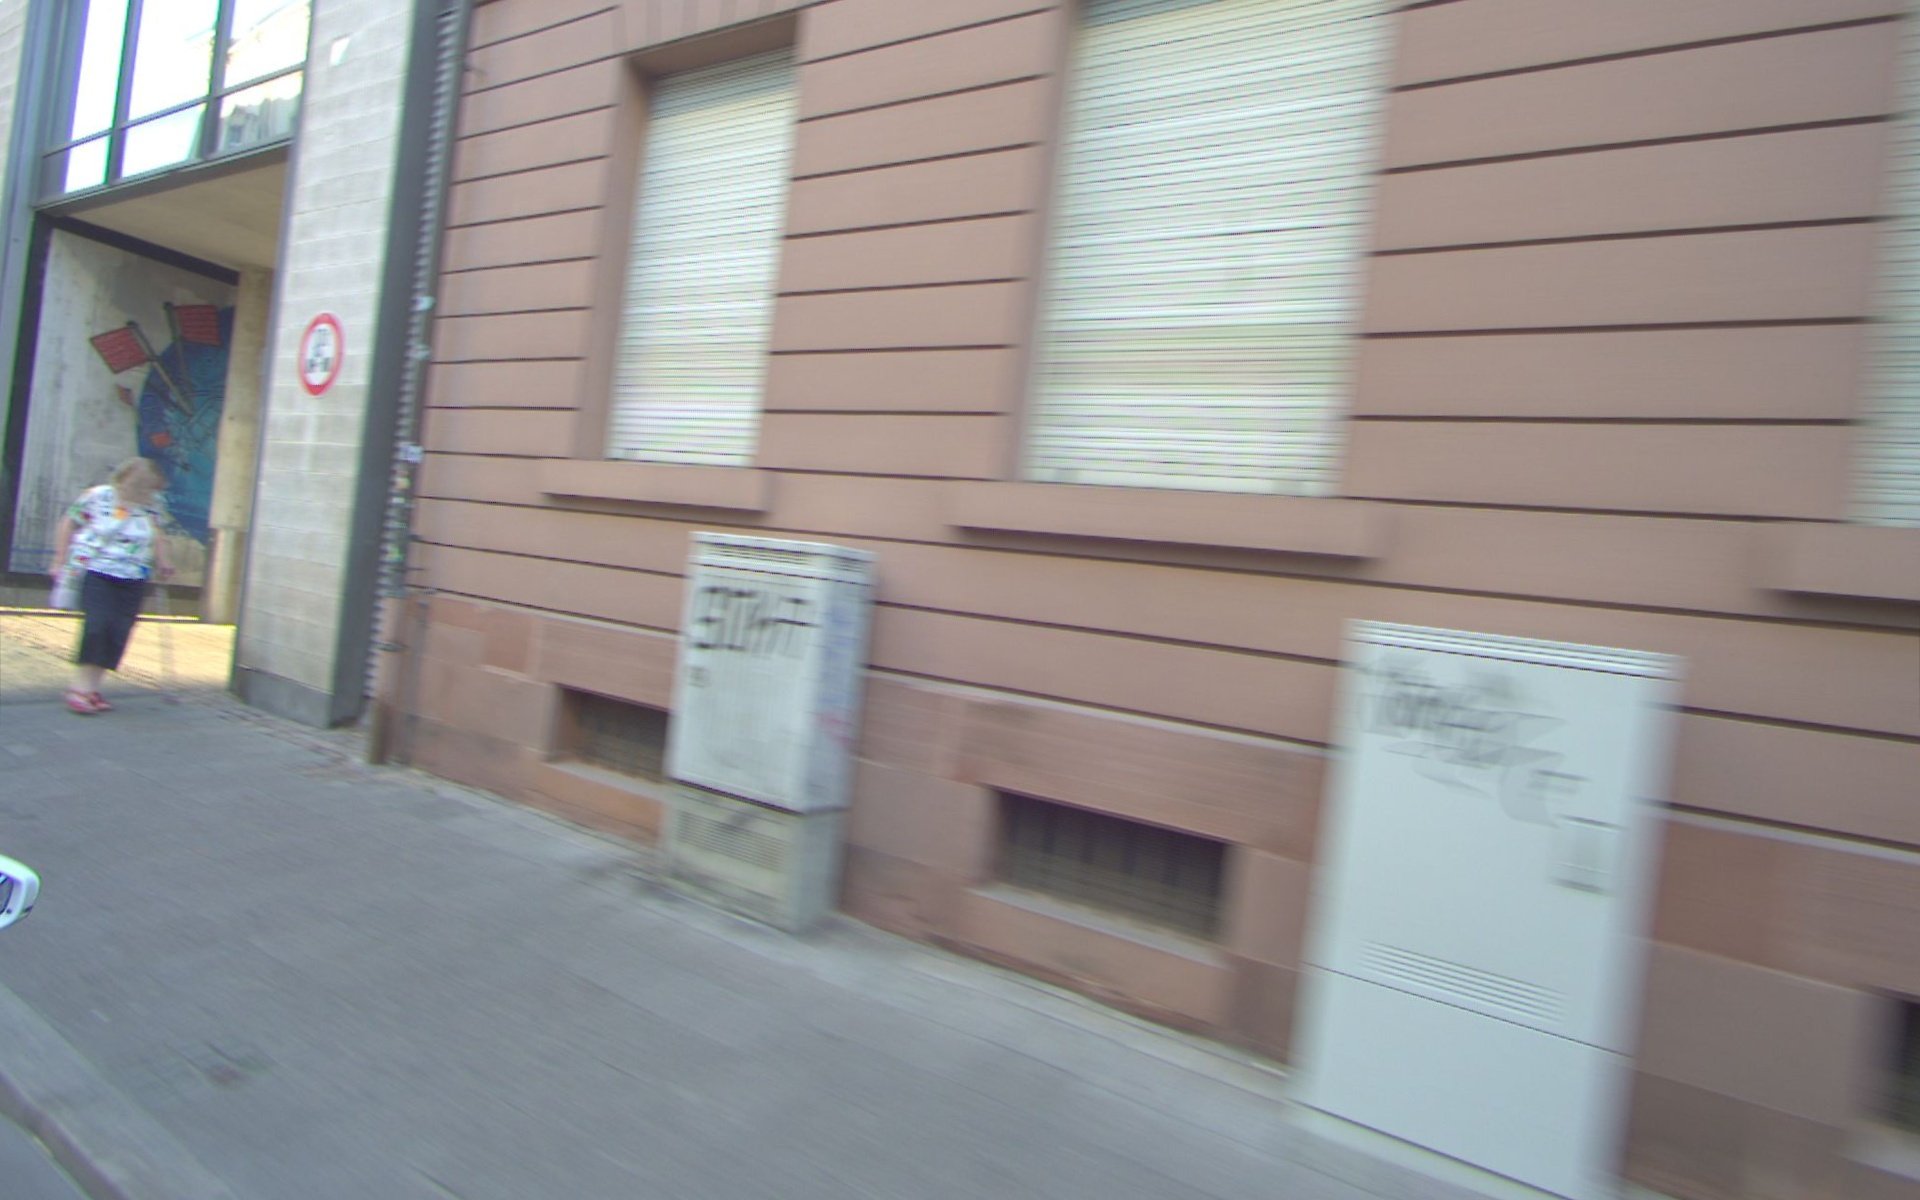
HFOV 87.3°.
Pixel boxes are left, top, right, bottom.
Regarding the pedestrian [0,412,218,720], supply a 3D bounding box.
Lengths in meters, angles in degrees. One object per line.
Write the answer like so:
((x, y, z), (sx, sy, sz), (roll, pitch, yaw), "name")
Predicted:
((-5.553, -0.217, 6.558), (0.883, 1.827, 0.844), (7, 3, 36), "pedestrian")
